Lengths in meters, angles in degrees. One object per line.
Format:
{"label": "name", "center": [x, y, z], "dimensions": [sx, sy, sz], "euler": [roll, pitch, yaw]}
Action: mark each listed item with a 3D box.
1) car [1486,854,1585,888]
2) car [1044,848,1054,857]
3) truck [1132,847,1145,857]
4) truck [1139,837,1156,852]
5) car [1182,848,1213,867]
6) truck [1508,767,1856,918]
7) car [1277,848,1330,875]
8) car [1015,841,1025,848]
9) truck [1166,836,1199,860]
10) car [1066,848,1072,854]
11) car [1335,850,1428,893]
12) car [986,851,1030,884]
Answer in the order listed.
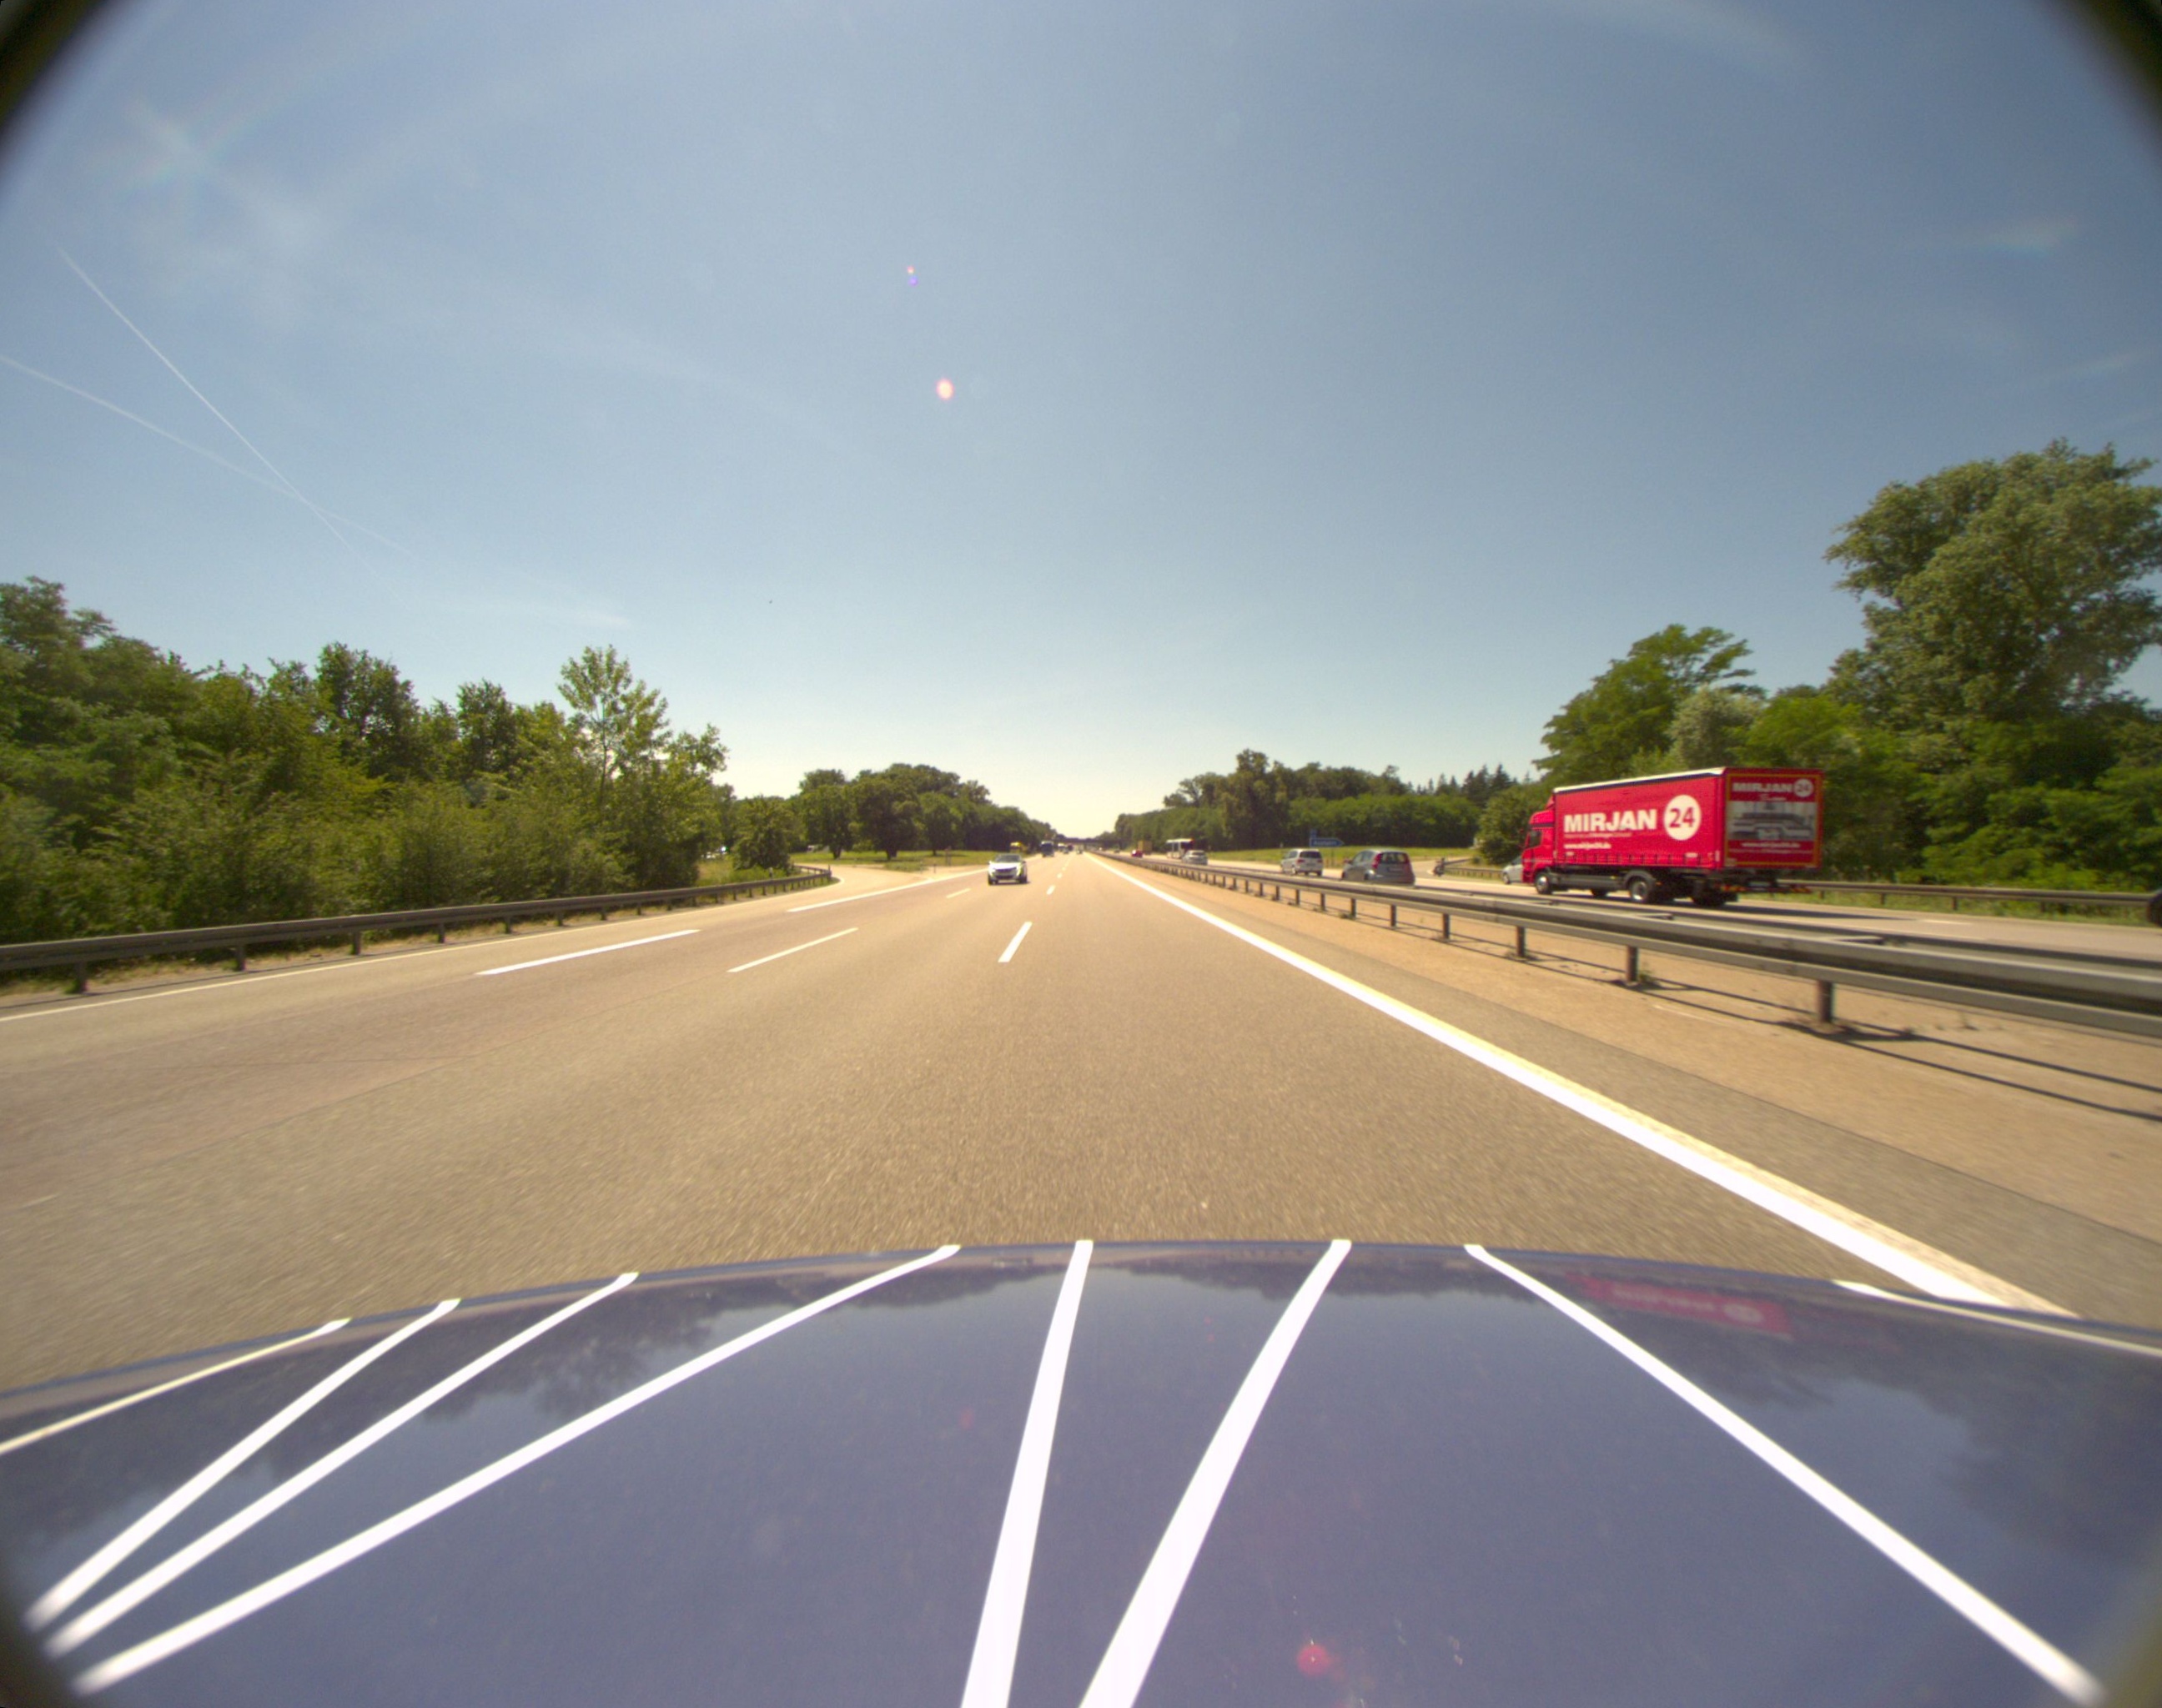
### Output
{"label": "car", "center": [22.126, 0.774, 37.261], "dimensions": [1.998, 1.501, 4.720], "euler": [1, 1, 0]}
{"label": "car", "center": [-7.303, -0.313, 175.047], "dimensions": [2.300, 2.002, 4.794], "euler": [-1, 1, -1]}
{"label": "truck", "center": [9.821, -0.346, 130.135], "dimensions": [1.835, 1.554, 4.309], "euler": [-1, 1, 1]}
{"label": "truck", "center": [17.865, -2.537, 204.780], "dimensions": [3.091, 3.853, 15.619], "euler": [-2, 1, 0]}
{"label": "car", "center": [10.285, 0.284, 67.539], "dimensions": [1.998, 1.543, 5.223], "euler": [-1, 1, 1]}
{"label": "truck", "center": [17.823, -0.314, 23.951], "dimensions": [3.072, 3.705, 9.804], "euler": [2, 1, 0]}
{"label": "car", "center": [13.879, 0.448, 47.646], "dimensions": [1.998, 1.617, 4.543], "euler": [1, 1, 1]}
{"label": "car", "center": [-18.208, -2.740, 225.816], "dimensions": [2.562, 2.002, 6.762], "euler": [-1, 1, -1]}
{"label": "truck", "center": [17.922, -1.129, 135.487], "dimensions": [3.091, 3.853, 17.543], "euler": [-1, 1, -1]}
{"label": "car", "center": [-3.560, -0.919, 230.630], "dimensions": [1.840, 2.002, 3.999], "euler": [-1, 1, 0]}
{"label": "car", "center": [11.386, 0.622, 29.103], "dimensions": [1.901, 1.497, 4.116], "euler": [-1, 0, -1]}
{"label": "car", "center": [-3.738, 0.645, 39.583], "dimensions": [1.845, 1.565, 3.999], "euler": [-2, 1, 0]}
